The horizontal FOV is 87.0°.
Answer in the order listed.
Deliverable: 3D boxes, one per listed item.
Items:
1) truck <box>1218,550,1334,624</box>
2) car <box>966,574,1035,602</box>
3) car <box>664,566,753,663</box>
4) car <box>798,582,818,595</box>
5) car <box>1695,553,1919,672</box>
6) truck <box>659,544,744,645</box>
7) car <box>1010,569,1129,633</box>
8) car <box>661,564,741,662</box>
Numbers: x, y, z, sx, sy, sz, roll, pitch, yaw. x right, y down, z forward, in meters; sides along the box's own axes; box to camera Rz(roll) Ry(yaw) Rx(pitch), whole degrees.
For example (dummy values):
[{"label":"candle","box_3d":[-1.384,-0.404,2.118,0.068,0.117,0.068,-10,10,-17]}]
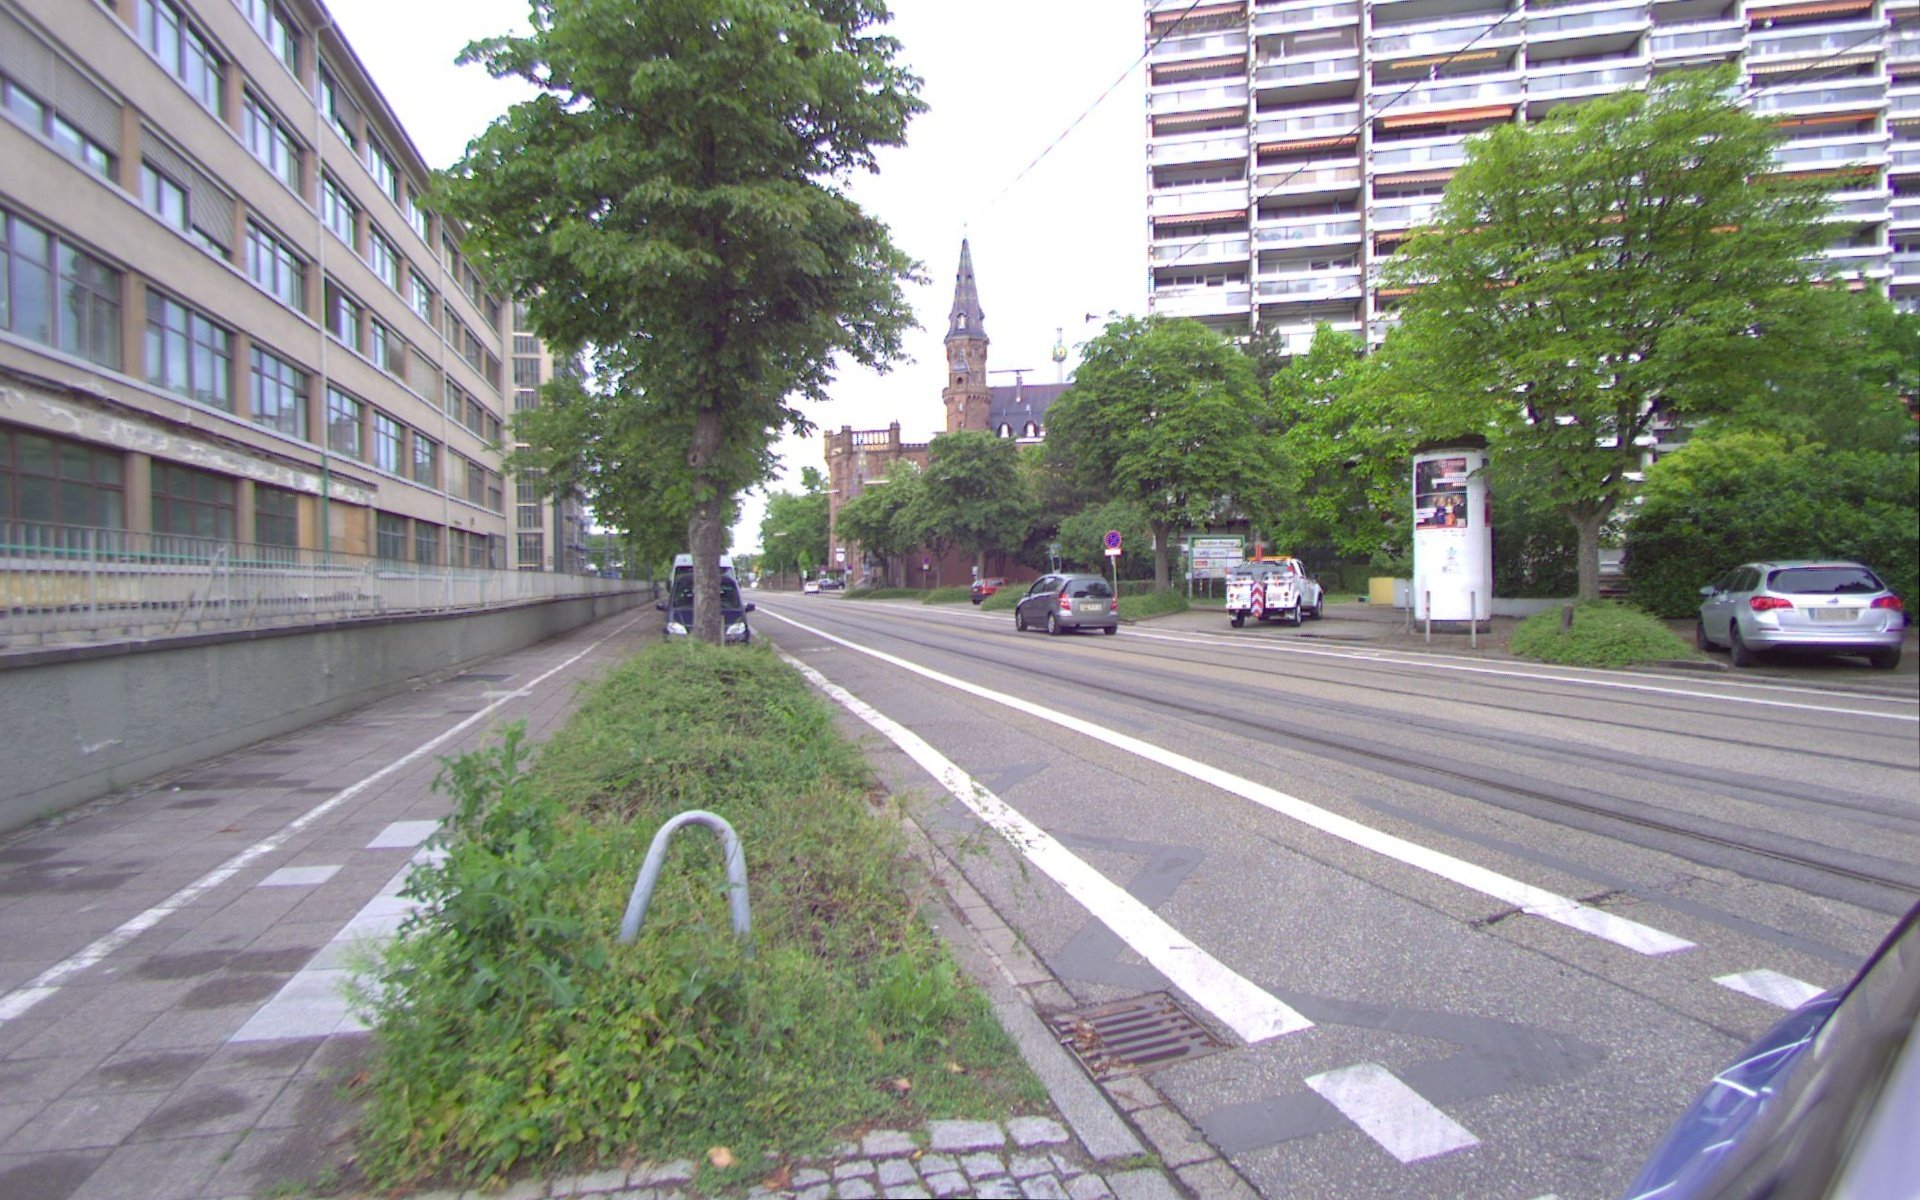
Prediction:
[{"label":"truck","box_3d":[8.993,-0.414,28.496,1.983,1.871,5.011,-1,1,31]},{"label":"car","box_3d":[2.234,-0.686,55.860,3.433,1.394,1.637,-3,2,-28]},{"label":"car","box_3d":[-5.316,0.225,21.280,1.624,1.835,4.094,1,1,-15]},{"label":"car","box_3d":[-19.009,-1.463,126.241,1.958,1.549,4.009,-1,1,-15]},{"label":"car","box_3d":[12.440,0.077,15.049,1.787,1.482,4.391,-1,2,28]},{"label":"truck","box_3d":[-7.896,-0.211,30.911,2.076,2.633,5.503,-6,2,-14]},{"label":"car","box_3d":[2.793,-0.011,26.611,1.866,1.549,3.762,-1,1,-15]},{"label":"car","box_3d":[-7.856,0.304,30.740,2.075,2.634,5.503,-2,1,-14]}]
